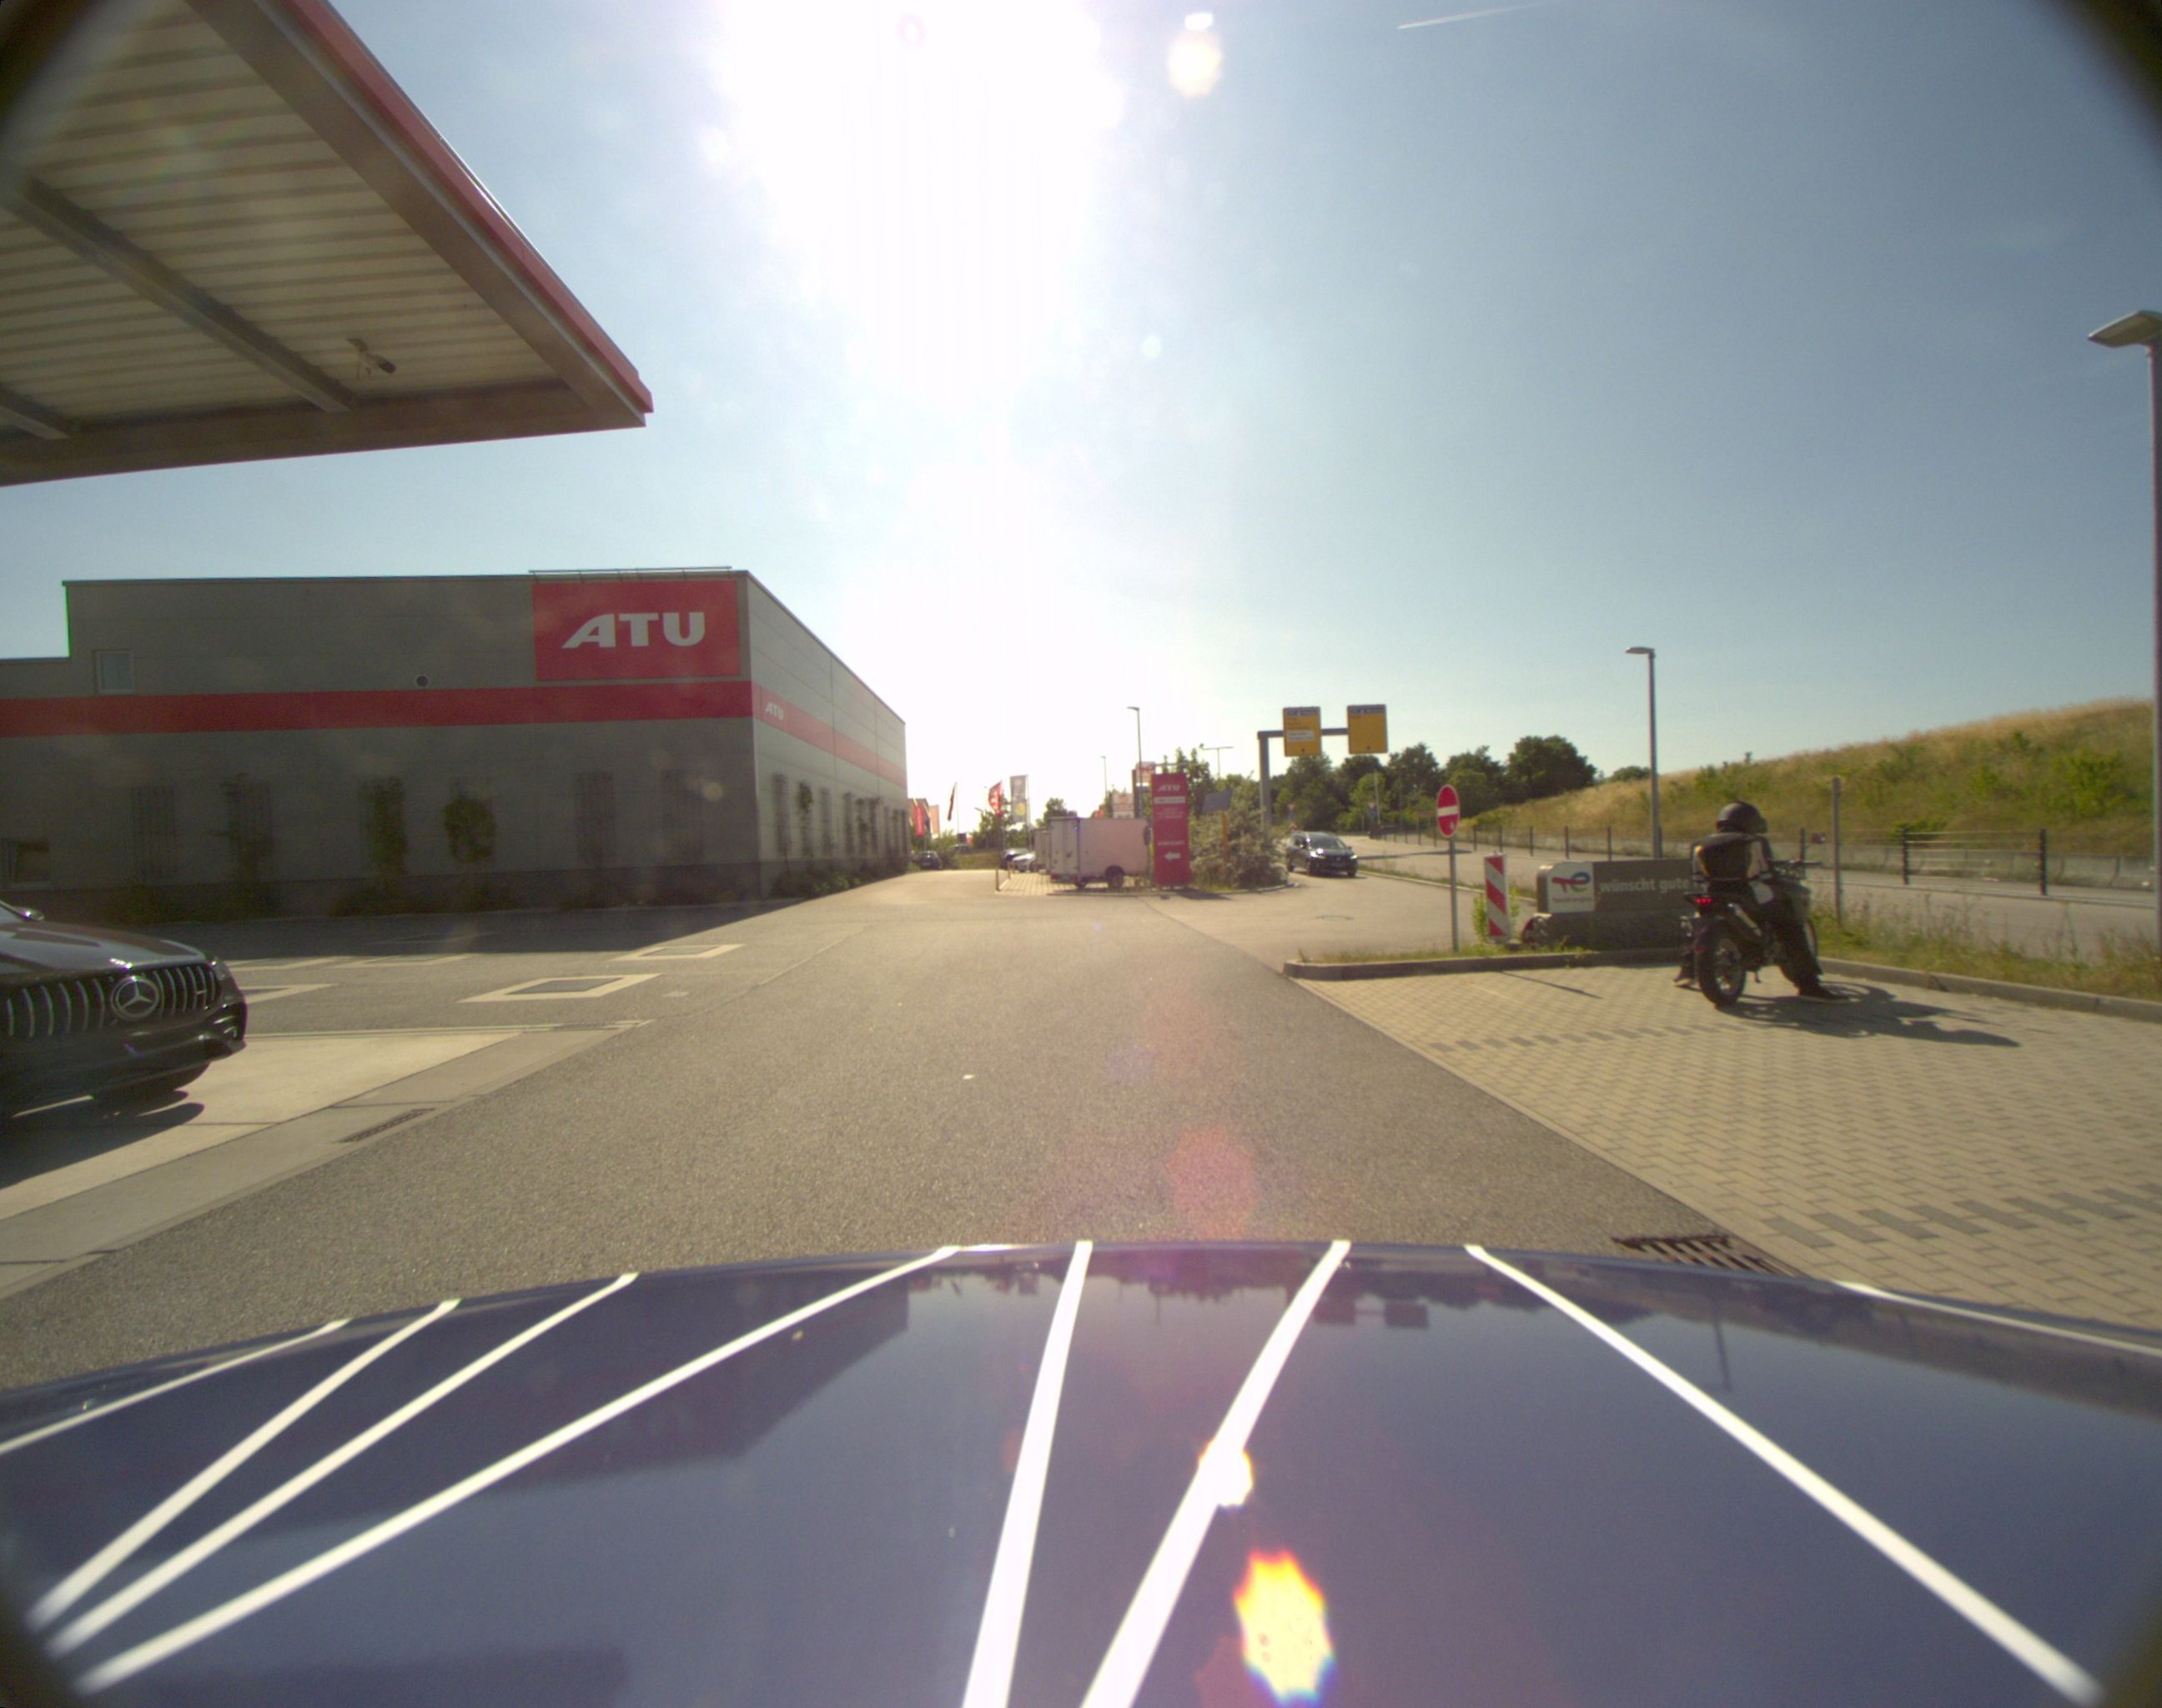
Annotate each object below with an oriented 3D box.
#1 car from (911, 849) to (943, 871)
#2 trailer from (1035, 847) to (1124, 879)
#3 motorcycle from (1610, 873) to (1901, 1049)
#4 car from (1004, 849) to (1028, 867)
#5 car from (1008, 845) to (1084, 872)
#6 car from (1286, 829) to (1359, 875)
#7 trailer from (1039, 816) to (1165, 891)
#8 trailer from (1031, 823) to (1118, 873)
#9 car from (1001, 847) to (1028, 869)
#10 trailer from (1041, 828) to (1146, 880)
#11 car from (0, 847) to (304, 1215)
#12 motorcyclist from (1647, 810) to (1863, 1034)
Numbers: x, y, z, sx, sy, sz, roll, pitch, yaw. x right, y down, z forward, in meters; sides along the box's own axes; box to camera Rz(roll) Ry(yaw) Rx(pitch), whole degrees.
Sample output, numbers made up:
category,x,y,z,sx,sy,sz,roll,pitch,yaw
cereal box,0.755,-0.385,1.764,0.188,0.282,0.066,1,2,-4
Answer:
category,x,y,z,sx,sy,sz,roll,pitch,yaw
car,-11.308,0.410,55.703,1.683,1.533,3.828,-2,1,-20
trailer,-0.056,0.372,34.437,3.724,1.273,1.575,-2,1,-27
motorcycle,5.751,0.790,6.453,2.419,1.100,1.043,-3,2,-27
car,-5.175,0.286,60.916,1.680,1.295,3.724,-1,1,-1
car,-1.899,0.229,41.798,3.842,1.310,1.677,-2,2,-36
car,9.439,-0.105,30.025,1.742,1.635,4.633,-1,1,5
trailer,0.776,-0.071,26.285,4.007,2.413,1.994,-2,2,-40
trailer,-0.327,-0.351,39.676,4.006,2.413,1.995,-2,2,-30
car,-4.381,0.229,50.361,1.681,1.310,3.833,-1,1,-4
trailer,0.526,-0.024,31.830,4.005,2.002,1.799,-2,1,-27
car,-7.872,0.908,4.233,4.795,1.840,2.033,-1,1,-3
motorcyclist,5.643,0.497,6.395,1.100,1.678,1.032,-2,2,-27
